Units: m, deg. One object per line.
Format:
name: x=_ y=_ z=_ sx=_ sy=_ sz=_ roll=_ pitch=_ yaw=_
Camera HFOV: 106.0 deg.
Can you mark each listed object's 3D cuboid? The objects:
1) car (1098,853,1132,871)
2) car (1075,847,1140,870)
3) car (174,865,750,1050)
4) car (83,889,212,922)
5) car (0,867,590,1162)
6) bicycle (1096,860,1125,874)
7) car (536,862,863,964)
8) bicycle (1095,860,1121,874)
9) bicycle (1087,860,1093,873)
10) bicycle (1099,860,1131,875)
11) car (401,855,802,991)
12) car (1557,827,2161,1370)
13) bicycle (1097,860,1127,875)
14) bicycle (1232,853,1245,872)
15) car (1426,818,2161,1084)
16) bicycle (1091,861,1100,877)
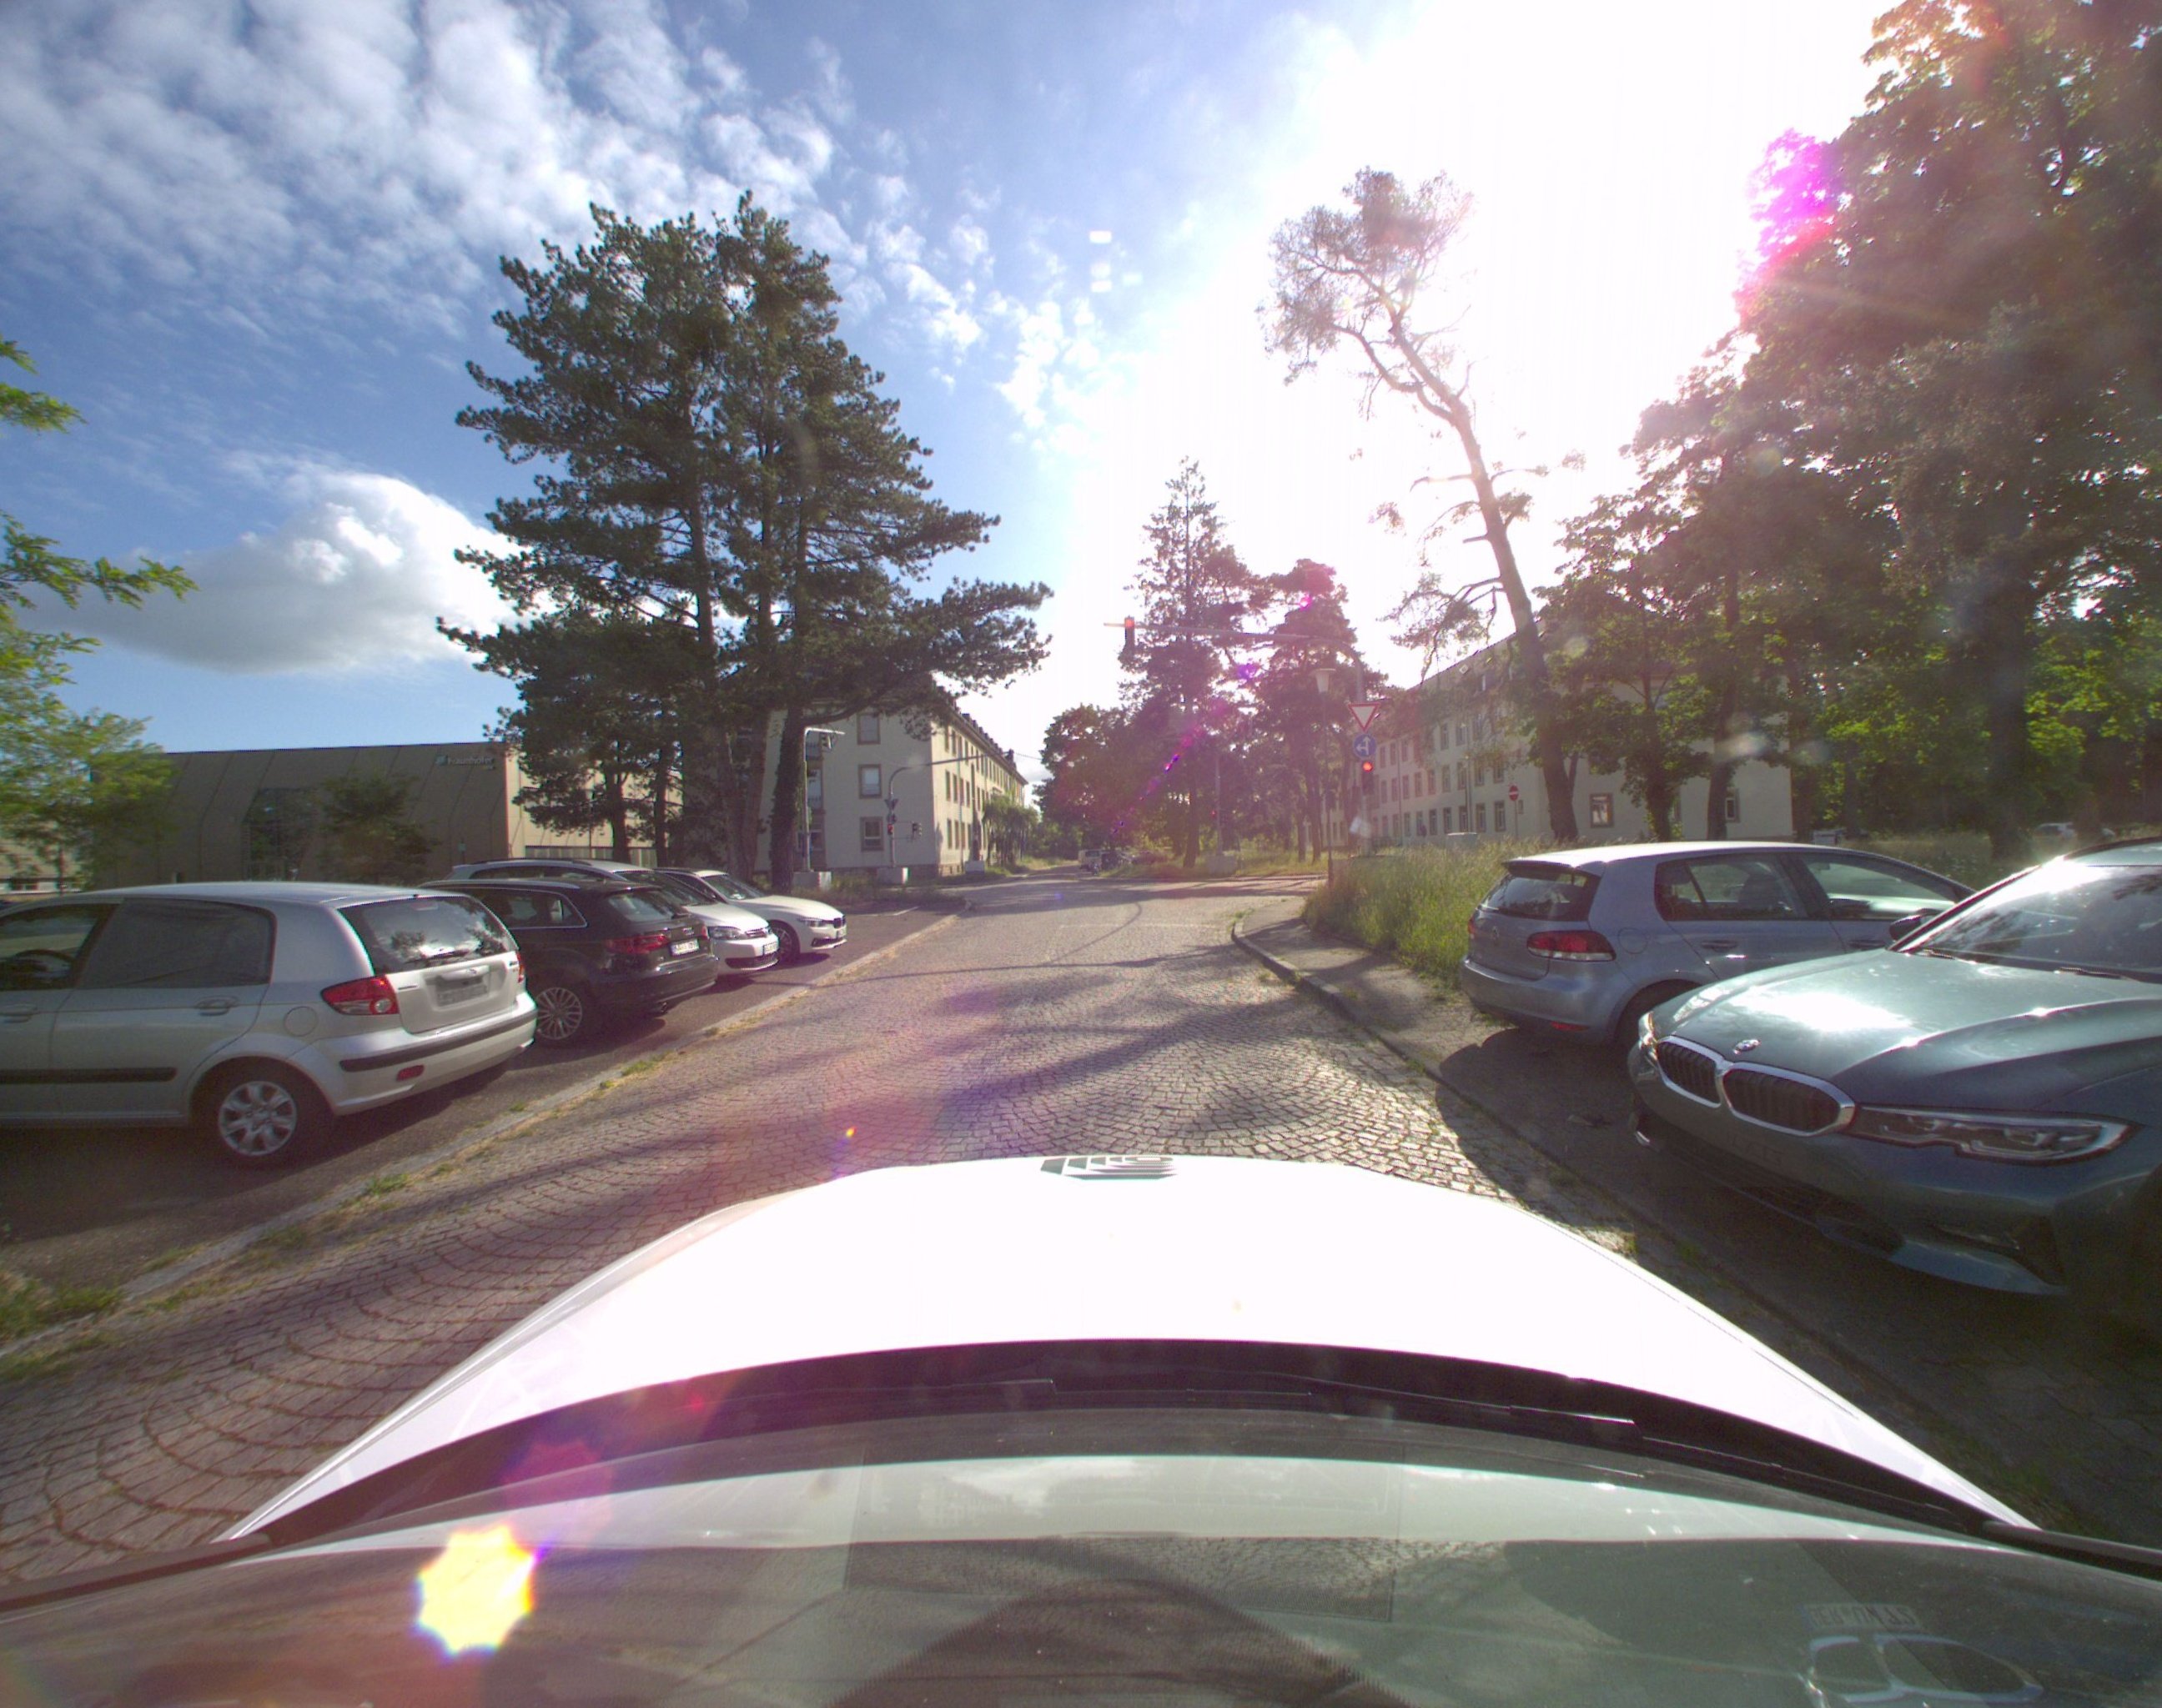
car: x=2.887 y=0.695 z=69.259 sx=2.776 sy=1.467 sz=1.669 roll=0 pitch=-1 yaw=-4
car: x=2.372 y=0.452 z=72.840 sx=5.535 sy=2.014 sz=1.988 roll=0 pitch=-1 yaw=-17
car: x=-5.488 y=0.871 z=7.683 sx=3.977 sy=1.480 sz=1.802 roll=0 pitch=0 yaw=-2
car: x=-47.610 y=2.591 z=41.661 sx=1.895 sy=1.433 sz=4.002 roll=-2 pitch=-1 yaw=2
car: x=-5.443 y=0.850 z=5.060 sx=3.736 sy=1.487 sz=1.644 roll=0 pitch=0 yaw=-2
bicycle: x=2.084 y=0.925 z=57.385 sx=2.026 sy=1.010 sz=0.626 roll=0 pitch=-1 yaw=-7
car: x=-5.898 y=0.882 z=13.011 sx=4.322 sy=1.468 sz=1.829 roll=0 pitch=0 yaw=-2
bicycle: x=1.926 y=0.933 z=58.261 sx=1.836 sy=1.010 sz=0.634 roll=0 pitch=-1 yaw=-7
bicycle: x=0.698 y=0.952 z=64.463 sx=0.416 sy=1.010 sz=1.484 roll=0 pitch=-1 yaw=2
bicycle: x=2.269 y=0.900 z=54.787 sx=2.107 sy=1.010 sz=0.619 roll=0 pitch=-1 yaw=-7
car: x=-6.010 y=0.826 z=10.642 sx=4.070 sy=1.593 sz=1.884 roll=0 pitch=0 yaw=-2
car: x=4.591 y=0.623 z=3.098 sx=4.543 sy=1.415 sz=1.637 roll=-3 pitch=0 yaw=1
bicycle: x=2.139 y=0.917 z=56.502 sx=2.002 sy=1.010 sz=0.630 roll=0 pitch=-1 yaw=-7
bicycle: x=8.238 y=0.439 z=42.621 sx=0.300 sy=0.961 sz=1.584 roll=0 pitch=-1 yaw=-2
car: x=4.767 y=0.591 z=5.808 sx=3.868 sy=1.415 sz=1.637 roll=-3 pitch=0 yaw=1
bicycle: x=0.898 y=0.952 z=51.196 sx=0.466 sy=1.010 sz=1.584 roll=0 pitch=-1 yaw=-2
